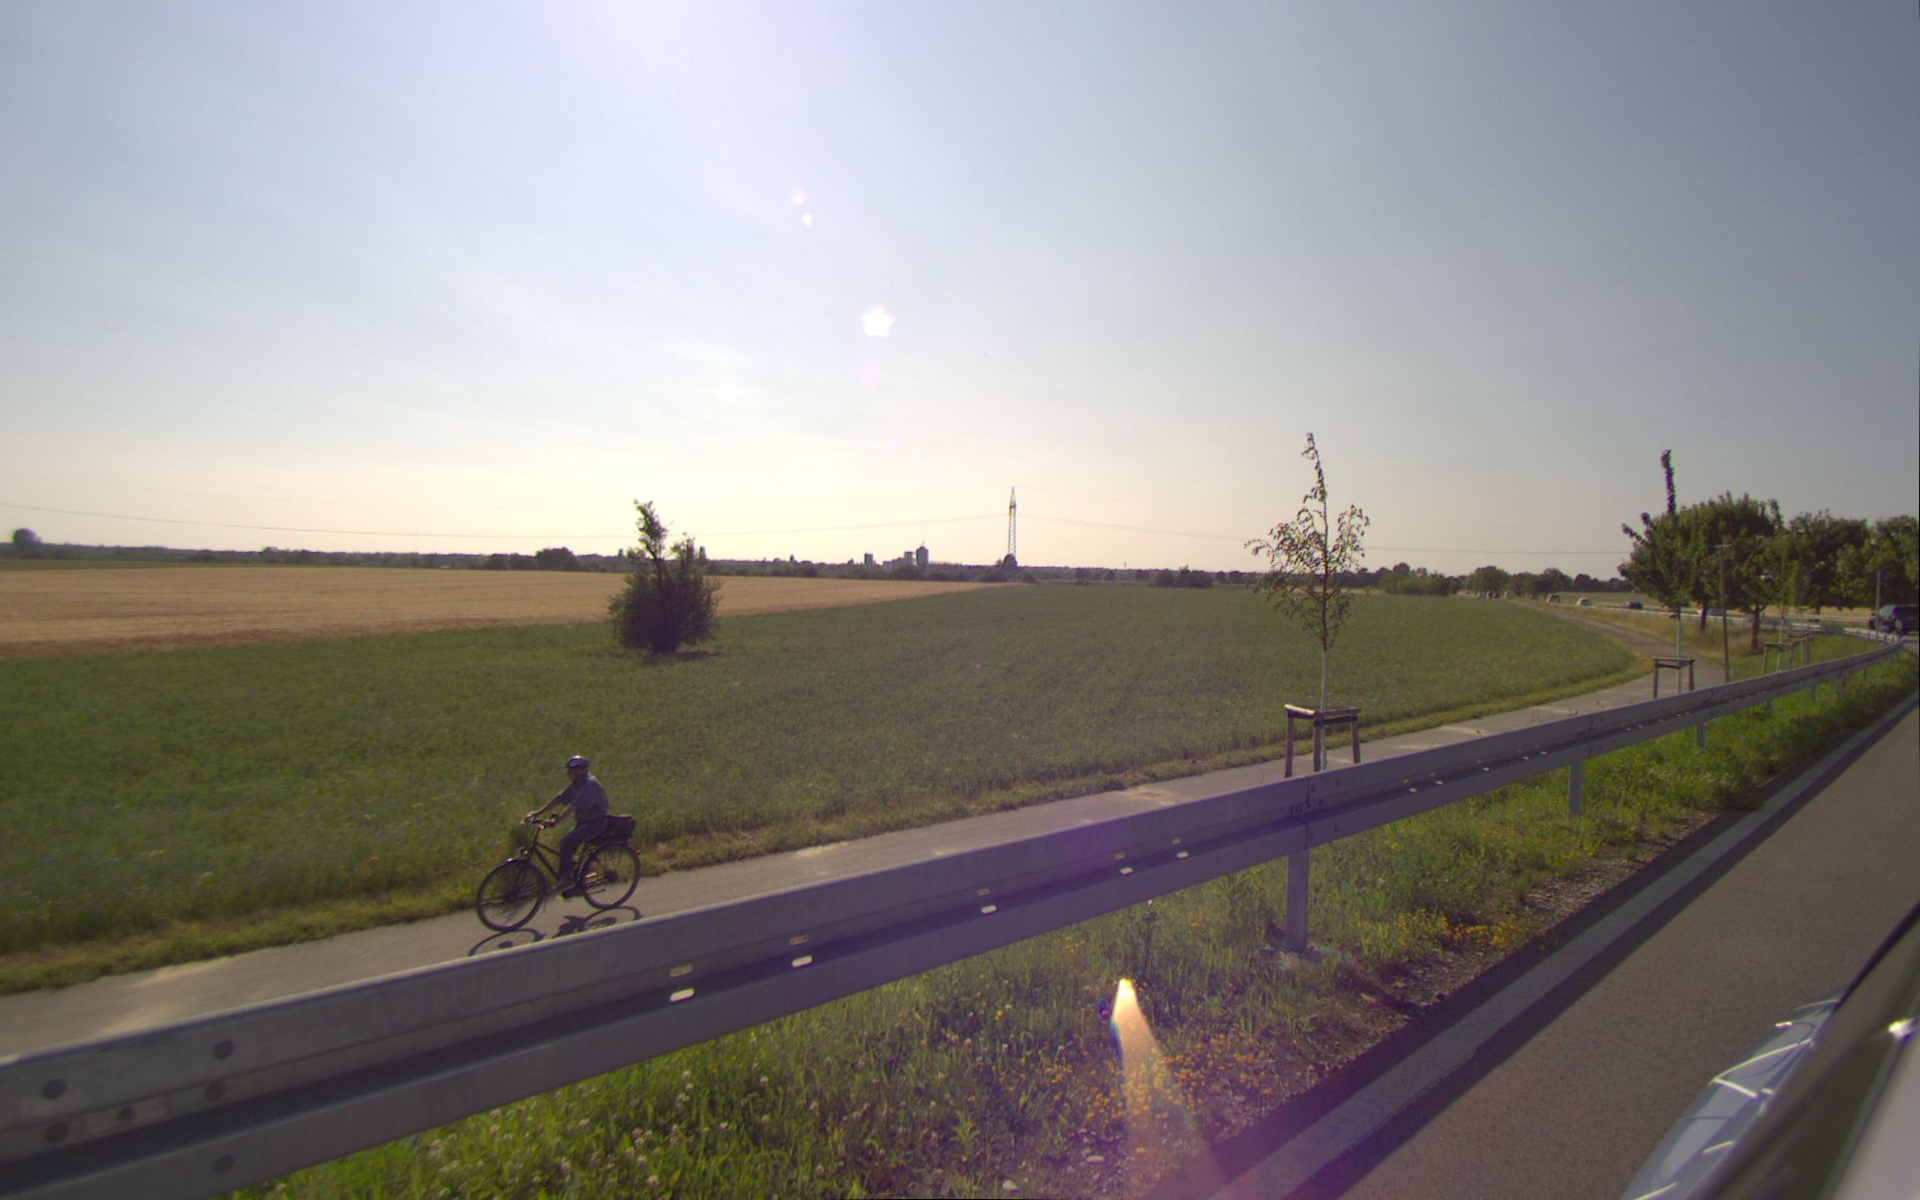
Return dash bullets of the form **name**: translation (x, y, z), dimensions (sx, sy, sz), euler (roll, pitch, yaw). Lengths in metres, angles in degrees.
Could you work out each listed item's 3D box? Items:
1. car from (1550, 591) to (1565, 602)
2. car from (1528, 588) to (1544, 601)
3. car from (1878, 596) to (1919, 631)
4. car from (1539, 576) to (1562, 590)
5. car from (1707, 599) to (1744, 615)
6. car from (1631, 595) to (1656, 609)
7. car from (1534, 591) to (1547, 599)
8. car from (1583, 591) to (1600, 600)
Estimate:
- **car**: translation (115.697, -0.662, 195.982), dimensions (1.897, 2.038, 4.745), euler (0, 2, 24)
- **car**: translation (97.759, -0.910, 171.797), dimensions (1.769, 2.039, 3.970), euler (-1, 1, 23)
- **car**: translation (56.423, 0.751, 60.003), dimensions (1.872, 1.820, 5.040), euler (-1, 2, 29)
- **car**: translation (88.223, -2.587, 151.297), dimensions (2.791, 2.039, 6.043), euler (-1, 1, 28)
- **car**: translation (74.986, 0.714, 99.191), dimensions (1.838, 1.467, 4.122), euler (-1, 0, 23)
- **car**: translation (87.980, 0.276, 130.332), dimensions (1.823, 1.563, 4.213), euler (-1, 2, 23)
- **car**: translation (130.421, -1.032, 227.439), dimensions (1.993, 1.604, 4.790), euler (1, 2, 23)
- **car**: translation (103.769, -0.670, 166.344), dimensions (1.737, 1.447, 3.816), euler (0, 0, 23)
